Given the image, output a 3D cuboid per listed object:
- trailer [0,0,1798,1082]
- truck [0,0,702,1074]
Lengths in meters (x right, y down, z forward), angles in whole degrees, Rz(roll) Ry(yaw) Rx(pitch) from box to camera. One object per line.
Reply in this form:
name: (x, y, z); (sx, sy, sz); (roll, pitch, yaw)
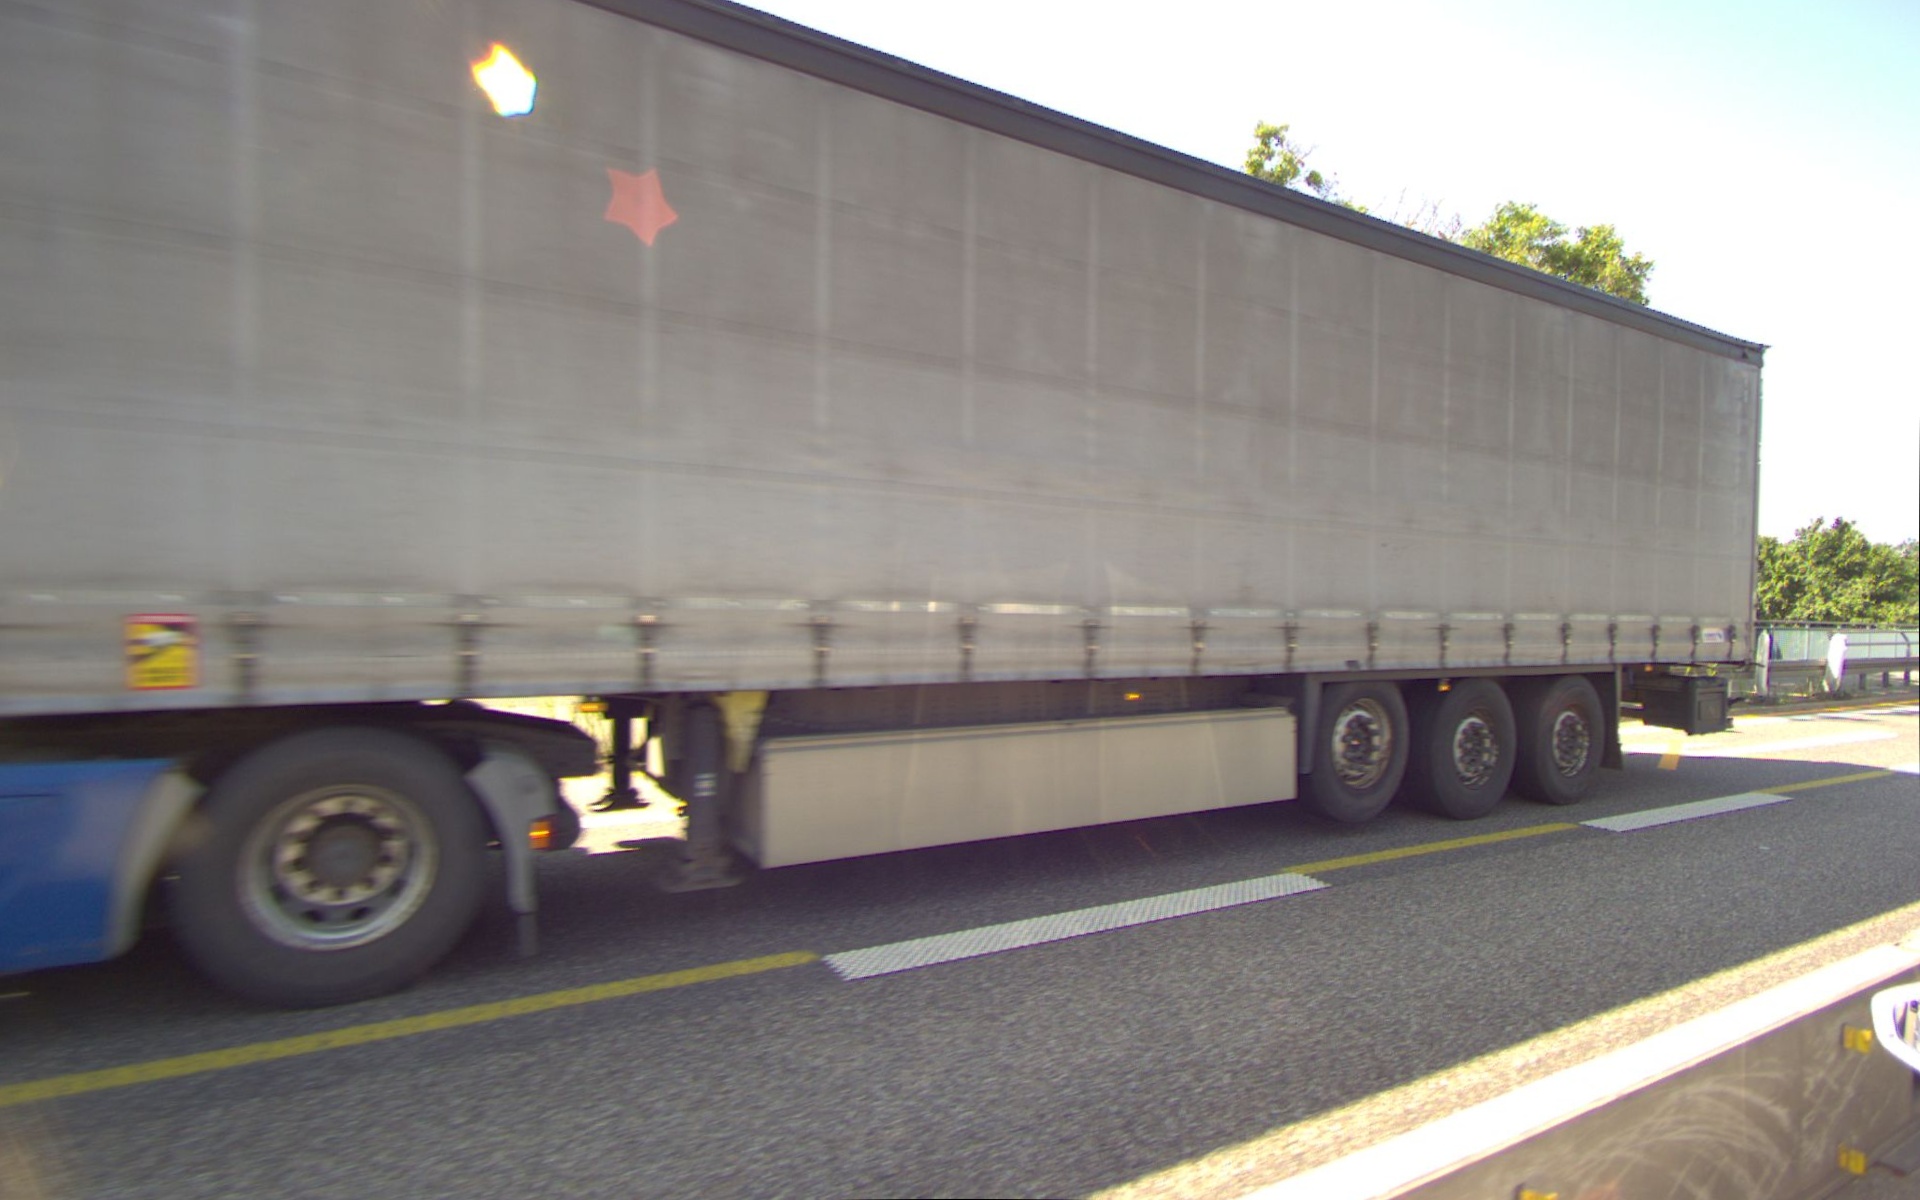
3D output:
trailer: (1.337, -0.511, 7.124); (13.310, 4.096, 2.790); (1, 0, -31)
truck: (-4.300, -0.612, 3.779); (5.915, 4.043, 2.801); (1, 0, -30)
